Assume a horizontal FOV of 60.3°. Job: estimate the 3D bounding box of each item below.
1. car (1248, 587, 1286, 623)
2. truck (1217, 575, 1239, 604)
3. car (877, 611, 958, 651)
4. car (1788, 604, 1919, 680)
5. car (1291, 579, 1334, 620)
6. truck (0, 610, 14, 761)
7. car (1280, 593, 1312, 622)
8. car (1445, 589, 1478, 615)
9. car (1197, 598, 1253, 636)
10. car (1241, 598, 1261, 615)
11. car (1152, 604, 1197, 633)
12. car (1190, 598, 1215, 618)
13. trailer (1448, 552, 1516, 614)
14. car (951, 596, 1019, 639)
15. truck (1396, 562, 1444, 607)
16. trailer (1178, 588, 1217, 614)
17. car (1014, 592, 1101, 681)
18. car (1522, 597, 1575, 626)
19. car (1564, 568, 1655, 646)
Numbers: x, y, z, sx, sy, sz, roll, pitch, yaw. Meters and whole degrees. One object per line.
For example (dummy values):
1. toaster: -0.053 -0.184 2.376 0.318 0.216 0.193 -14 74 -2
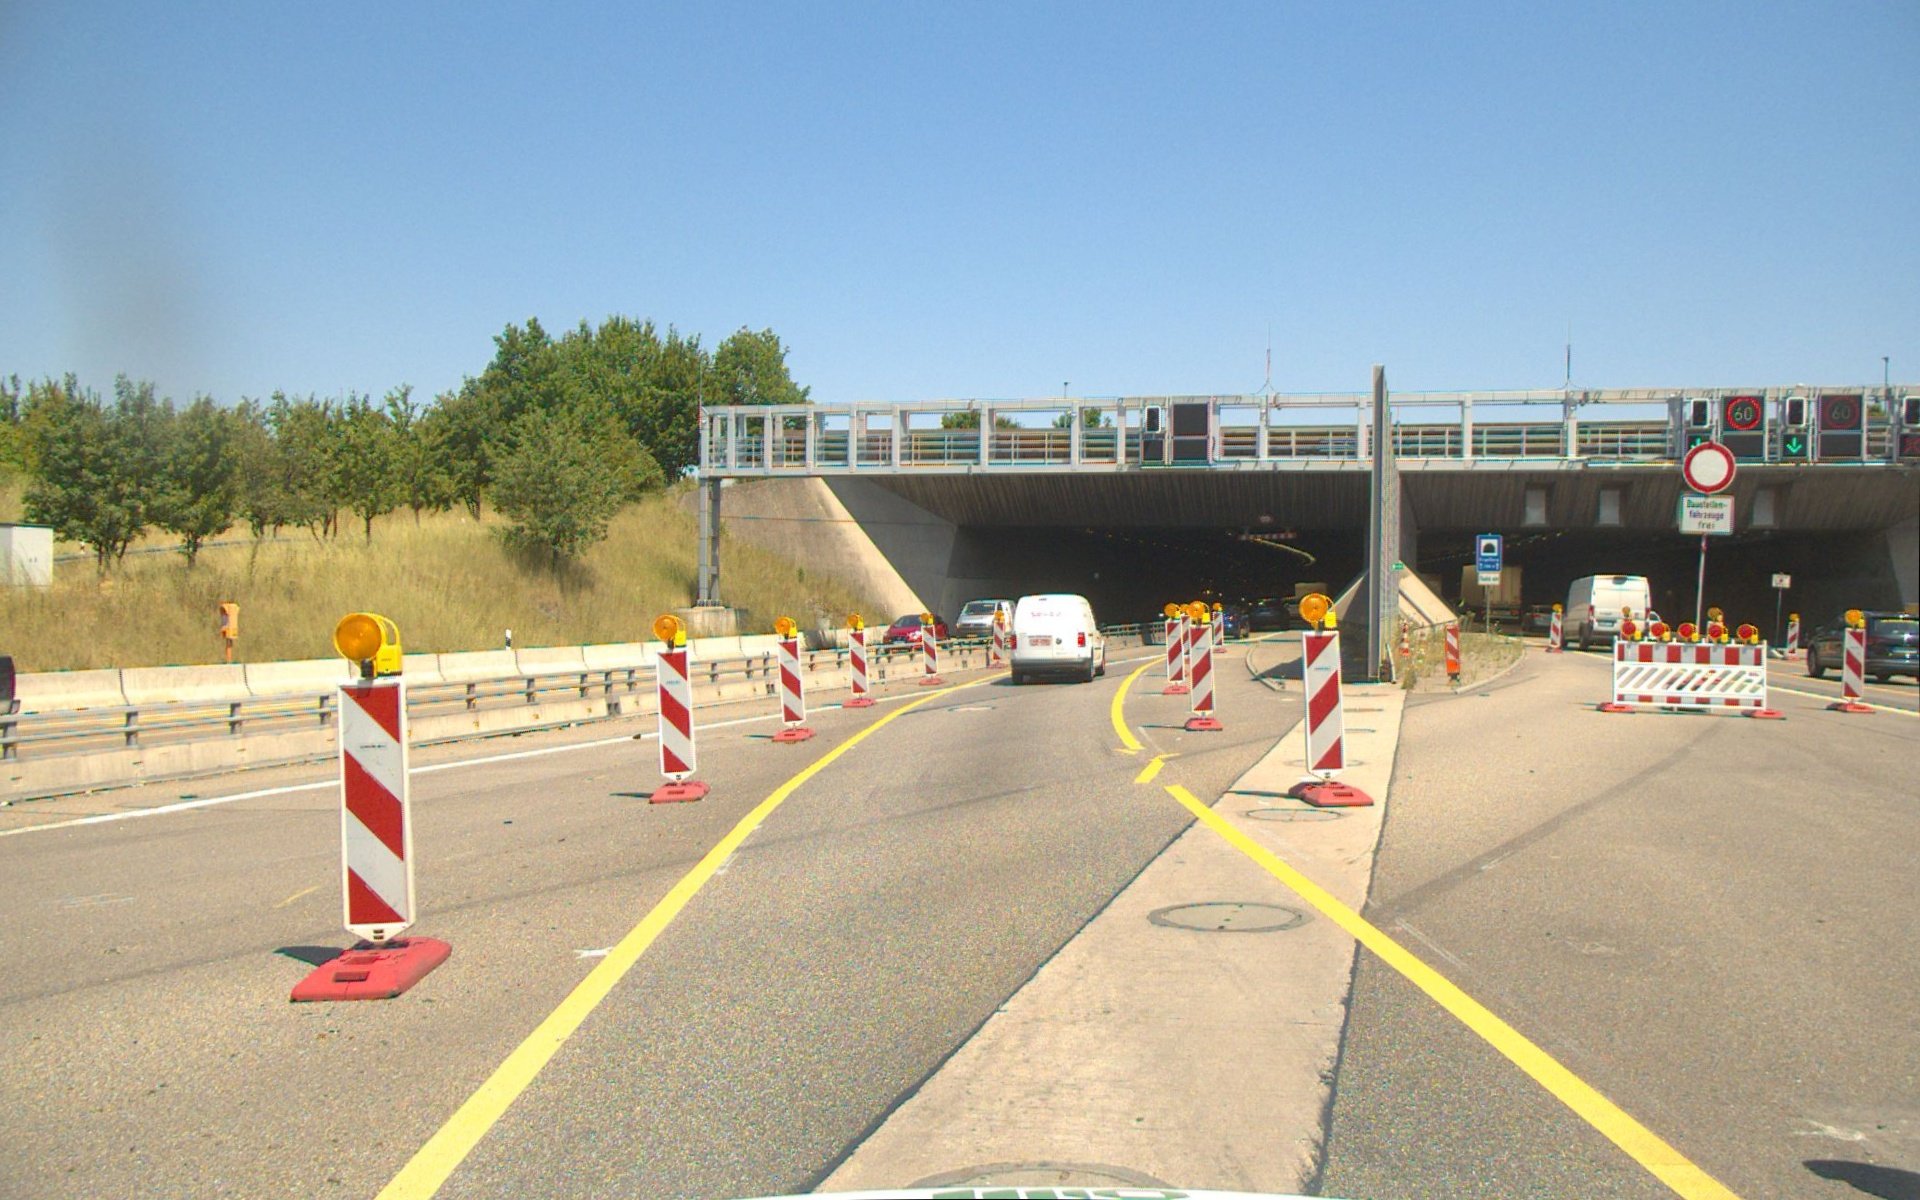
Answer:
1. car: 16.199 0.285 87.107 1.770 1.847 4.413 0 0 13
2. truck: 38.848 -1.526 239.615 2.750 3.984 6.461 -2 0 12
3. car: -1.626 1.195 64.750 1.653 1.419 3.999 -3 -1 22
4. car: 21.966 0.968 40.009 1.976 1.692 5.241 1 0 10
5. car: 25.911 0.015 121.322 2.754 2.822 7.106 1 -1 14
6. truck: -13.766 1.129 19.164 1.952 1.906 4.763 -1 1 19
7. car: 20.623 0.457 101.487 1.770 1.781 4.413 0 0 13
8. car: 33.658 0.148 111.082 1.776 1.671 4.656 2 0 13
9. car: 11.392 0.731 70.964 1.770 1.564 4.412 -1 0 17
10. car: 29.470 0.626 167.353 1.736 1.605 4.450 -3 0 13
11. car: 12.888 1.099 99.021 1.707 1.621 4.228 -2 -1 21
12. car: 21.941 0.712 149.375 1.736 1.695 4.811 -3 0 14
13. trailer: 37.819 -1.117 120.277 2.674 4.133 14.106 2 0 10
14. car: 1.215 0.808 76.671 1.652 1.866 4.789 -3 -1 19
15. truck: 50.723 -1.574 182.840 3.329 4.411 16.548 2 -1 9
16. trailer: 18.287 0.031 127.104 1.906 1.837 5.525 -3 0 19
17. car: 2.076 0.766 35.932 1.771 1.825 3.732 0 0 2
18. car: 32.643 0.638 91.821 1.776 1.490 4.656 2 0 7
19. car: 23.075 0.268 59.009 2.217 2.580 6.589 1 0 14
